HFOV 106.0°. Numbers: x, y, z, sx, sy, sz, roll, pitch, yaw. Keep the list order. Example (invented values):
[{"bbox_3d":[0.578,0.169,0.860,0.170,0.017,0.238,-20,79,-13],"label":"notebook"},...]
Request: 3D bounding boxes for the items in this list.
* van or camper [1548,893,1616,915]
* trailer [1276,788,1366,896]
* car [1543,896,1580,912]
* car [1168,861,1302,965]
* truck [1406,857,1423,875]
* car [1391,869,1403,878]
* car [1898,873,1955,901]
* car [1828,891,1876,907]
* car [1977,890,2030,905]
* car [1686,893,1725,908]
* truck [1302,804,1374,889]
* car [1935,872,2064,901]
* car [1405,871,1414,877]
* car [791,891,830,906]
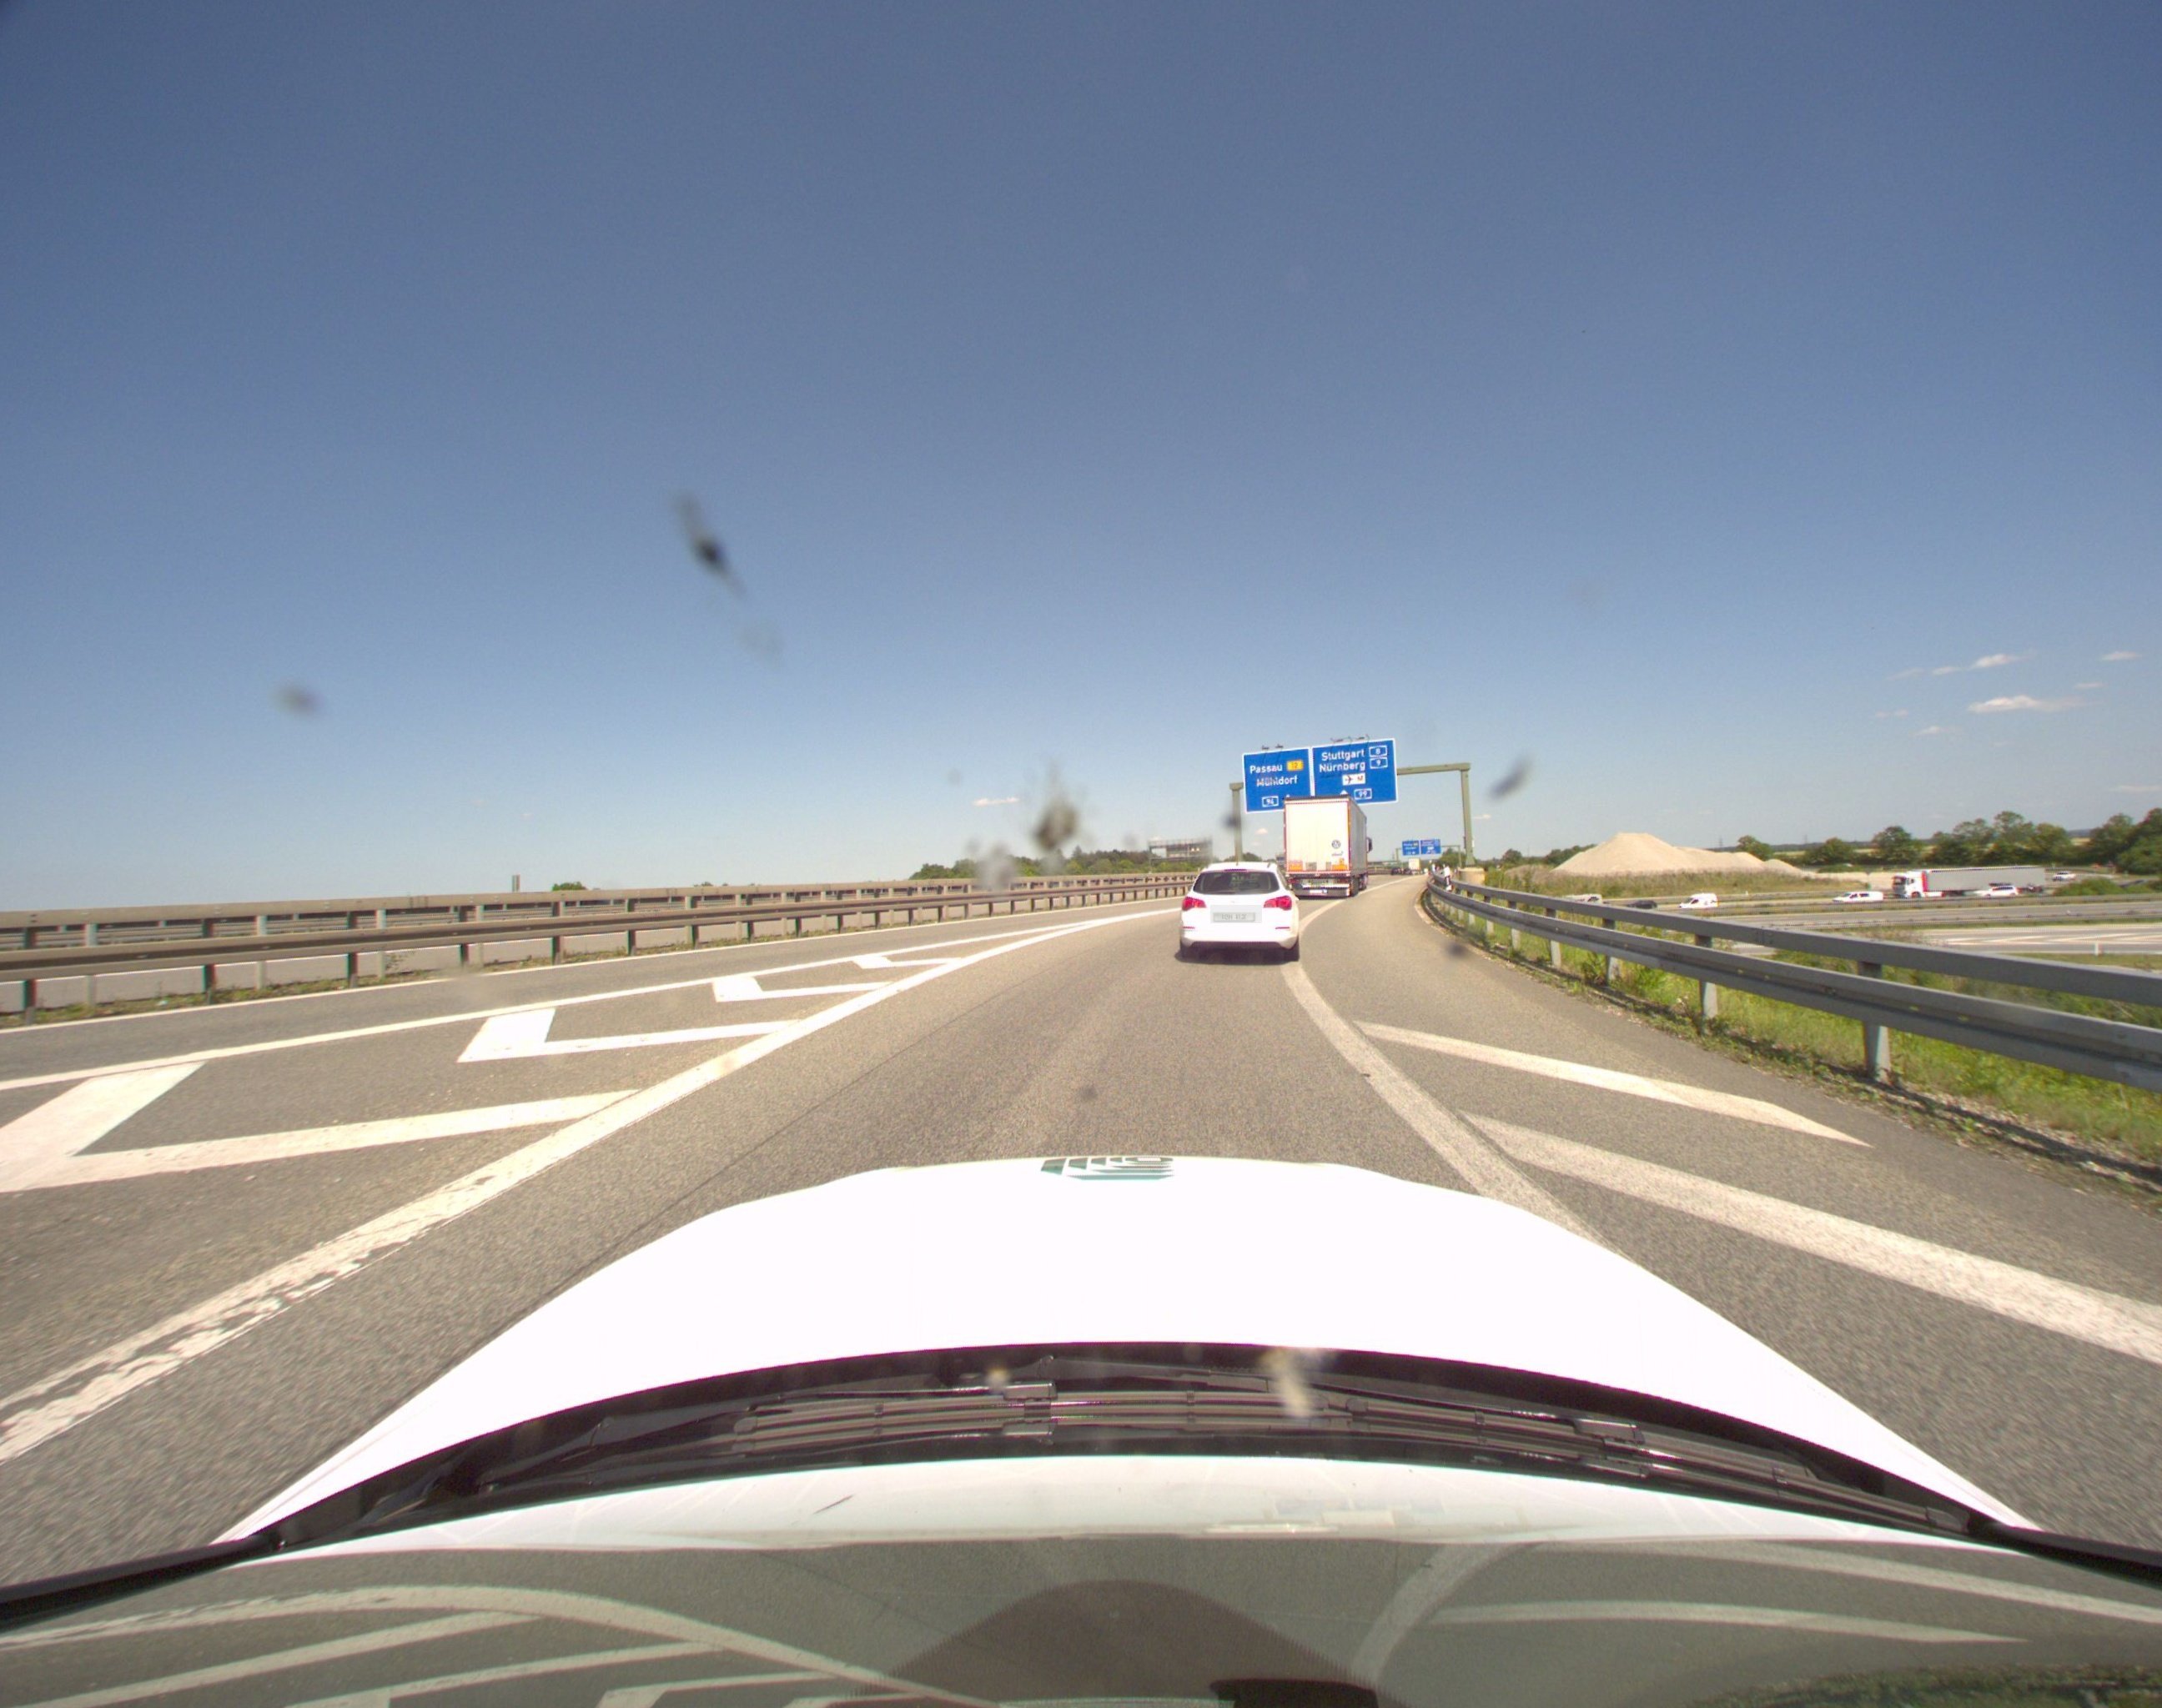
[{"bbox_3d":[75.511,7.639,123.001,8.073,2.996,2.995,-3,-5,15],"label":"van or camper"},{"bbox_3d":[11.133,-0.248,36.900,2.887,4.146,11.314,-1,-3,21],"label":"trailer"},{"bbox_3d":[66.355,6.896,112.425,3.962,2.015,1.882,-1,-6,10],"label":"car"},{"bbox_3d":[2.683,0.868,13.594,1.841,1.443,4.388,-1,-1,14],"label":"car"},{"bbox_3d":[83.589,3.075,203.850,3.507,4.146,11.319,1,-2,24],"label":"truck"},{"bbox_3d":[52.938,3.330,136.455,1.638,1.380,4.022,1,-2,26],"label":"car"},{"bbox_3d":[121.379,4.713,116.970,5.105,3.964,2.492,-1,-2,15],"label":"car"},{"bbox_3d":[106.545,6.205,112.565,4.362,2.014,2.008,-1,-2,15],"label":"car"},{"bbox_3d":[127.253,5.938,112.366,4.362,2.014,2.008,-1,-2,15],"label":"car"},{"bbox_3d":[88.921,6.661,115.958,3.955,2.014,1.811,-1,-2,17],"label":"car"},{"bbox_3d":[13.861,-0.229,43.589,2.886,4.146,6.963,-1,-3,23],"label":"truck"},{"bbox_3d":[129.366,4.569,114.898,12.875,3.964,2.492,-1,-2,15],"label":"car"},{"bbox_3d":[73.721,4.513,182.690,1.638,1.380,4.022,1,-2,26],"label":"car"},{"bbox_3d":[-26.542,4.407,80.039,1.608,1.357,3.636,-3,-5,25],"label":"car"}]
